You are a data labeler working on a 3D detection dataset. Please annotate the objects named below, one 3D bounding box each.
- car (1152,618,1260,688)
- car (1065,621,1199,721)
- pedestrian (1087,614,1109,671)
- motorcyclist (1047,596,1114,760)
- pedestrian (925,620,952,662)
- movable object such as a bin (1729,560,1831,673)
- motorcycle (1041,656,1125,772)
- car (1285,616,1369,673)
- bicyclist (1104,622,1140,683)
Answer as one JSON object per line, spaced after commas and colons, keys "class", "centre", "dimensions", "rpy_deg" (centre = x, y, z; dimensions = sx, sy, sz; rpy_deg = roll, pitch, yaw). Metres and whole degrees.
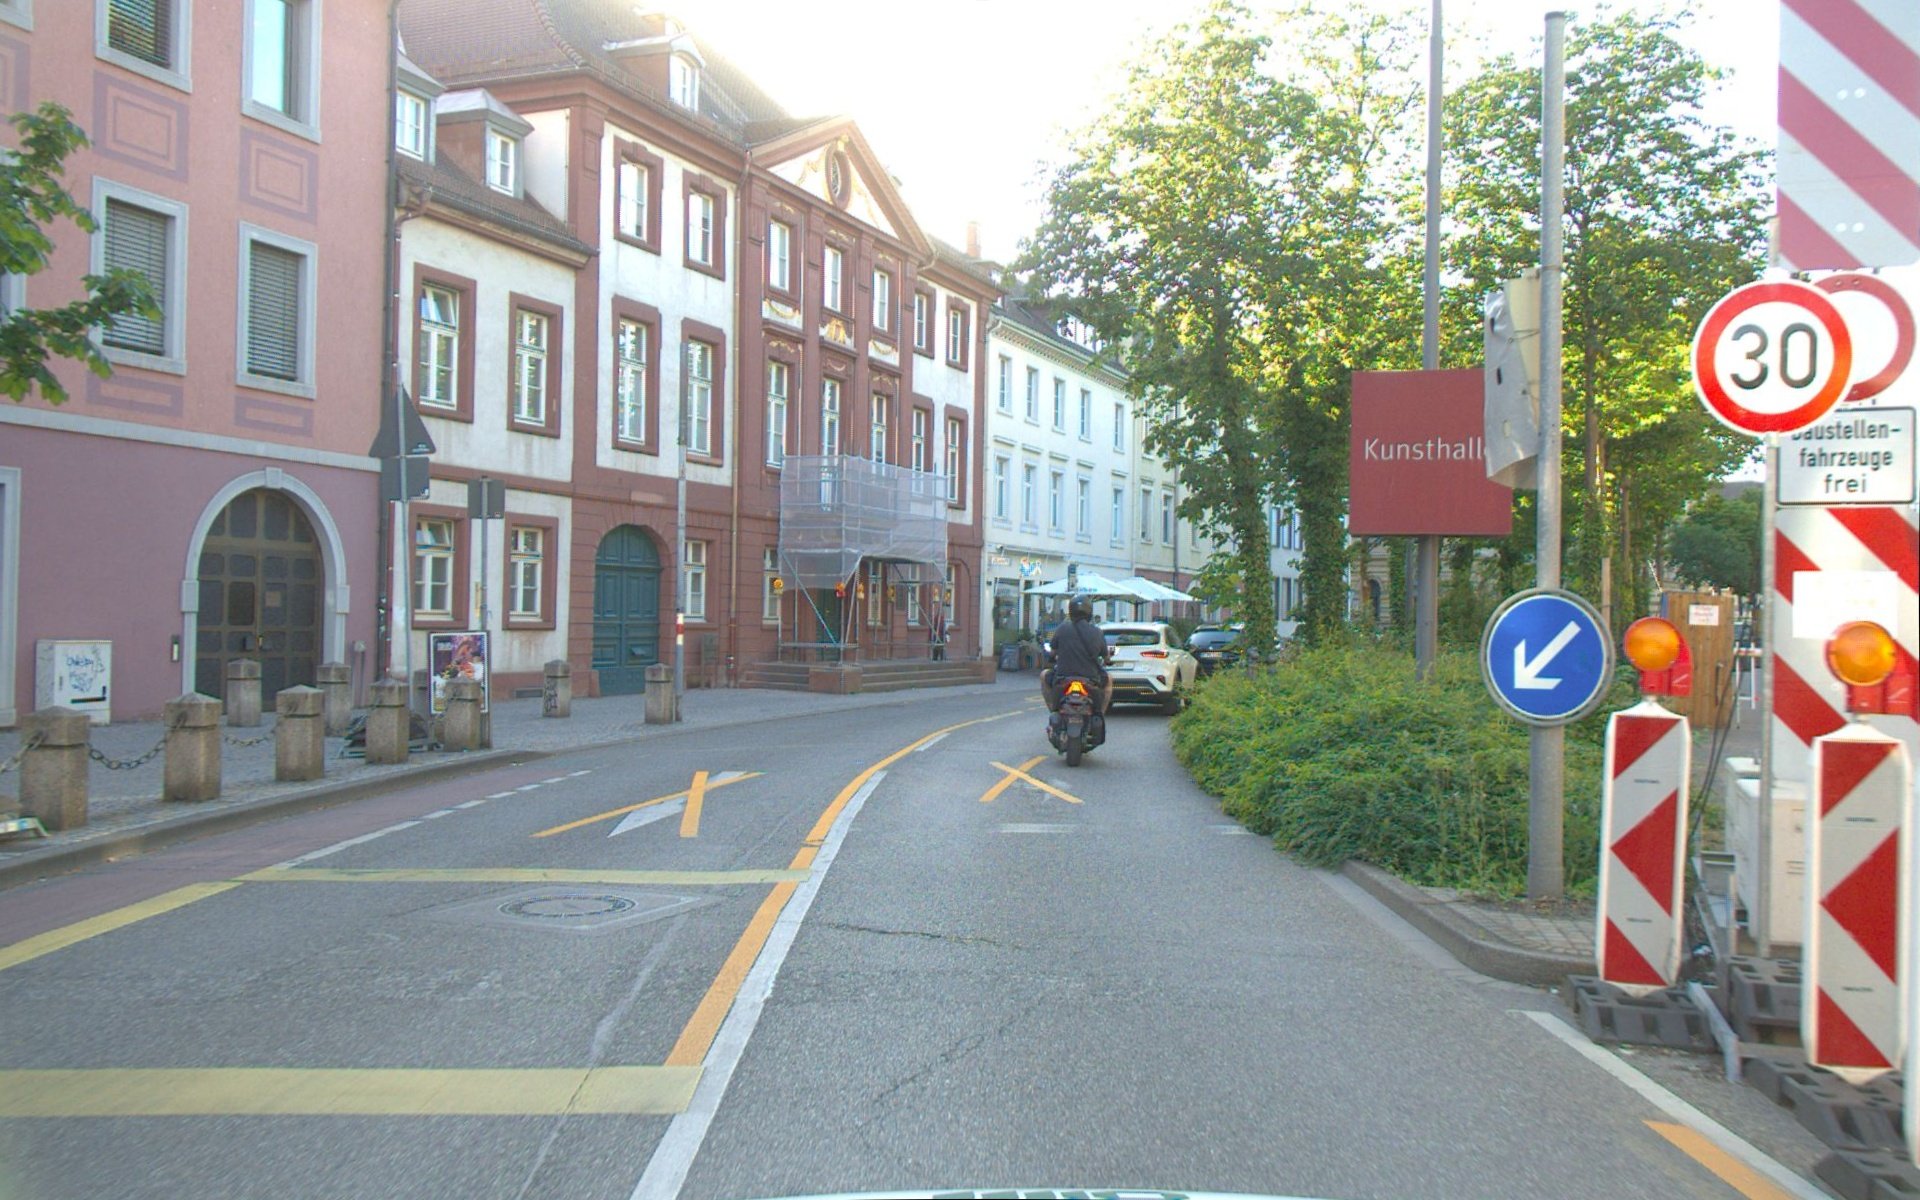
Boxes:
{"class": "car", "centre": [5.771, 1.201, 38.480], "dimensions": [1.802, 1.489, 4.059], "rpy_deg": [1, -1, 18]}
{"class": "car", "centre": [2.977, 1.138, 27.914], "dimensions": [1.811, 1.506, 4.060], "rpy_deg": [1, -1, 12]}
{"class": "pedestrian", "centre": [4.382, 1.340, 52.551], "dimensions": [0.430, 1.806, 0.595], "rpy_deg": [0, -2, 37]}
{"class": "motorcyclist", "centre": [1.253, 0.803, 17.289], "dimensions": [0.643, 1.679, 0.651], "rpy_deg": [1, -1, 1]}
{"class": "pedestrian", "centre": [-0.566, 1.080, 43.488], "dimensions": [0.525, 1.071, 0.551], "rpy_deg": [1, -1, 20]}
{"class": "movable object such as a bin", "centre": [35.804, 0.774, 72.070], "dimensions": [3.247, 4.619, 7.885], "rpy_deg": [-1, -2, 32]}
{"class": "motorcycle", "centre": [1.256, 1.154, 17.182], "dimensions": [0.780, 1.085, 1.725], "rpy_deg": [2, -1, 2]}
{"class": "car", "centre": [11.916, 1.436, 53.540], "dimensions": [1.804, 1.743, 4.054], "rpy_deg": [1, -1, 25]}
{"class": "bicyclist", "centre": [4.431, 1.434, 45.215], "dimensions": [0.729, 1.611, 0.794], "rpy_deg": [1, -1, 26]}
